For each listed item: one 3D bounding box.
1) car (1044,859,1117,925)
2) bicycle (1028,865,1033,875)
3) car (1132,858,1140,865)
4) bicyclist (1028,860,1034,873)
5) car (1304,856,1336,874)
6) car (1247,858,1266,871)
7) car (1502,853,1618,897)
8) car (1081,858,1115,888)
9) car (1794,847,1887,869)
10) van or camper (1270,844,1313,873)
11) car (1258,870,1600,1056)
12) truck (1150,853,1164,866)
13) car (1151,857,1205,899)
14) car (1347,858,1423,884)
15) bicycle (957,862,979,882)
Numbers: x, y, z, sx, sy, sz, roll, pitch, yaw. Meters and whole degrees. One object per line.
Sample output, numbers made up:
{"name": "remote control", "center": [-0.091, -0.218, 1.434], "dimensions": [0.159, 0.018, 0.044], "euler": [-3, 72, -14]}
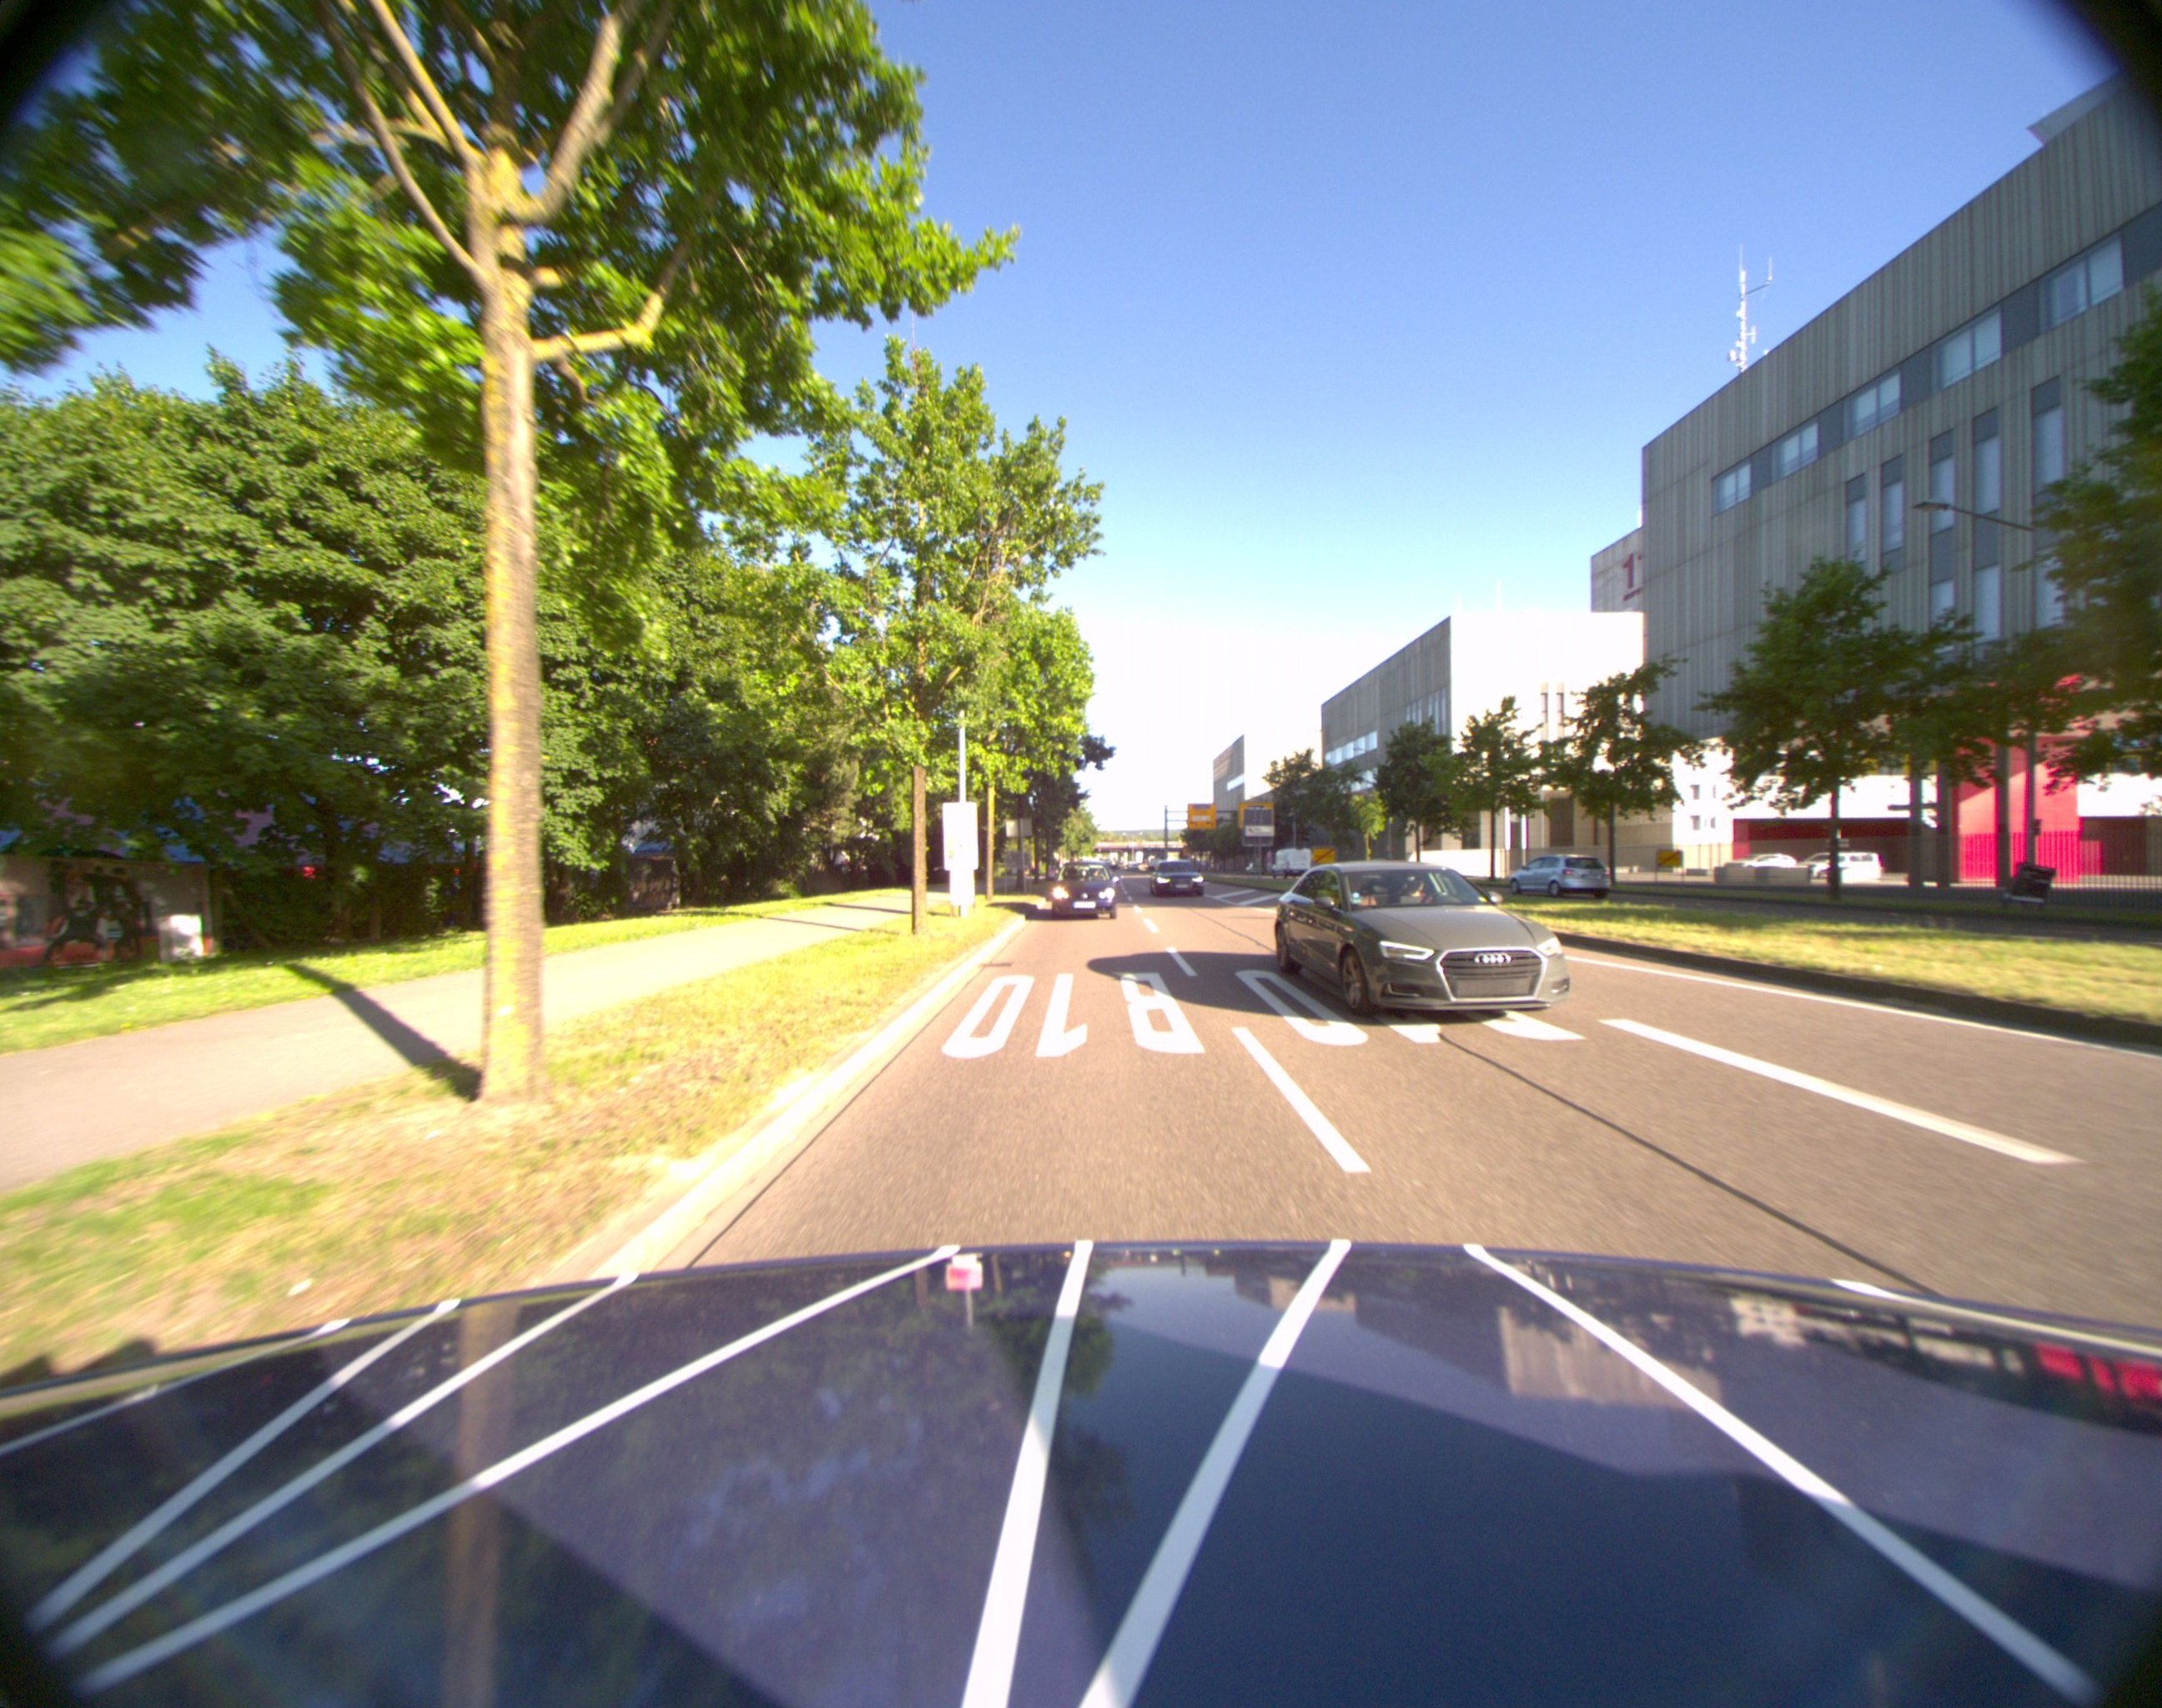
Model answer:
{"name": "car", "center": [0.021, 0.924, 20.222], "dimensions": [1.702, 1.474, 4.052], "euler": [-1, 1, 1]}
{"name": "bicycle", "center": [-5.814, 1.845, 87.494], "dimensions": [0.517, 1.066, 1.936], "euler": [-1, 0, -2]}
{"name": "car", "center": [13.964, 1.915, 192.331], "dimensions": [1.828, 1.672, 4.659], "euler": [1, 0, 1]}
{"name": "bicyclist", "center": [-5.779, 1.420, 87.473], "dimensions": [0.686, 1.513, 1.036], "euler": [-1, 0, -2]}
{"name": "car", "center": [21.035, 0.939, 66.946], "dimensions": [1.554, 1.499, 4.027], "euler": [-1, -1, 0]}
{"name": "car", "center": [21.039, 1.261, 91.335], "dimensions": [1.449, 1.428, 3.460], "euler": [0, -1, 0]}
{"name": "car", "center": [17.448, 0.728, 27.917], "dimensions": [1.693, 1.467, 4.049], "euler": [0, 0, -1]}
{"name": "car", "center": [0.861, 0.955, 39.504], "dimensions": [1.702, 1.478, 3.947], "euler": [-1, 0, 1]}
{"name": "car", "center": [52.818, 0.279, 52.916], "dimensions": [4.398, 1.494, 1.936], "euler": [-1, 0, 3]}
{"name": "van or camper", "center": [17.758, 0.380, 64.310], "dimensions": [1.998, 2.354, 5.994], "euler": [1, 0, 1]}
{"name": "car", "center": [3.257, 0.905, 8.176], "dimensions": [1.702, 1.396, 4.365], "euler": [-1, 0, 1]}
{"name": "truck", "center": [17.205, 1.237, 173.034], "dimensions": [2.692, 2.943, 7.115], "euler": [1, -1, 2]}
{"name": "car", "center": [3.827, 0.916, 30.621], "dimensions": [1.702, 1.528, 3.947], "euler": [-1, 0, 1]}
{"name": "car", "center": [14.057, 0.755, 35.366], "dimensions": [1.832, 1.105, 4.174], "euler": [0, 0, -1]}
{"name": "bicycle", "center": [-6.620, 1.063, 44.503], "dimensions": [0.775, 1.124, 1.710], "euler": [-1, 0, 9]}
